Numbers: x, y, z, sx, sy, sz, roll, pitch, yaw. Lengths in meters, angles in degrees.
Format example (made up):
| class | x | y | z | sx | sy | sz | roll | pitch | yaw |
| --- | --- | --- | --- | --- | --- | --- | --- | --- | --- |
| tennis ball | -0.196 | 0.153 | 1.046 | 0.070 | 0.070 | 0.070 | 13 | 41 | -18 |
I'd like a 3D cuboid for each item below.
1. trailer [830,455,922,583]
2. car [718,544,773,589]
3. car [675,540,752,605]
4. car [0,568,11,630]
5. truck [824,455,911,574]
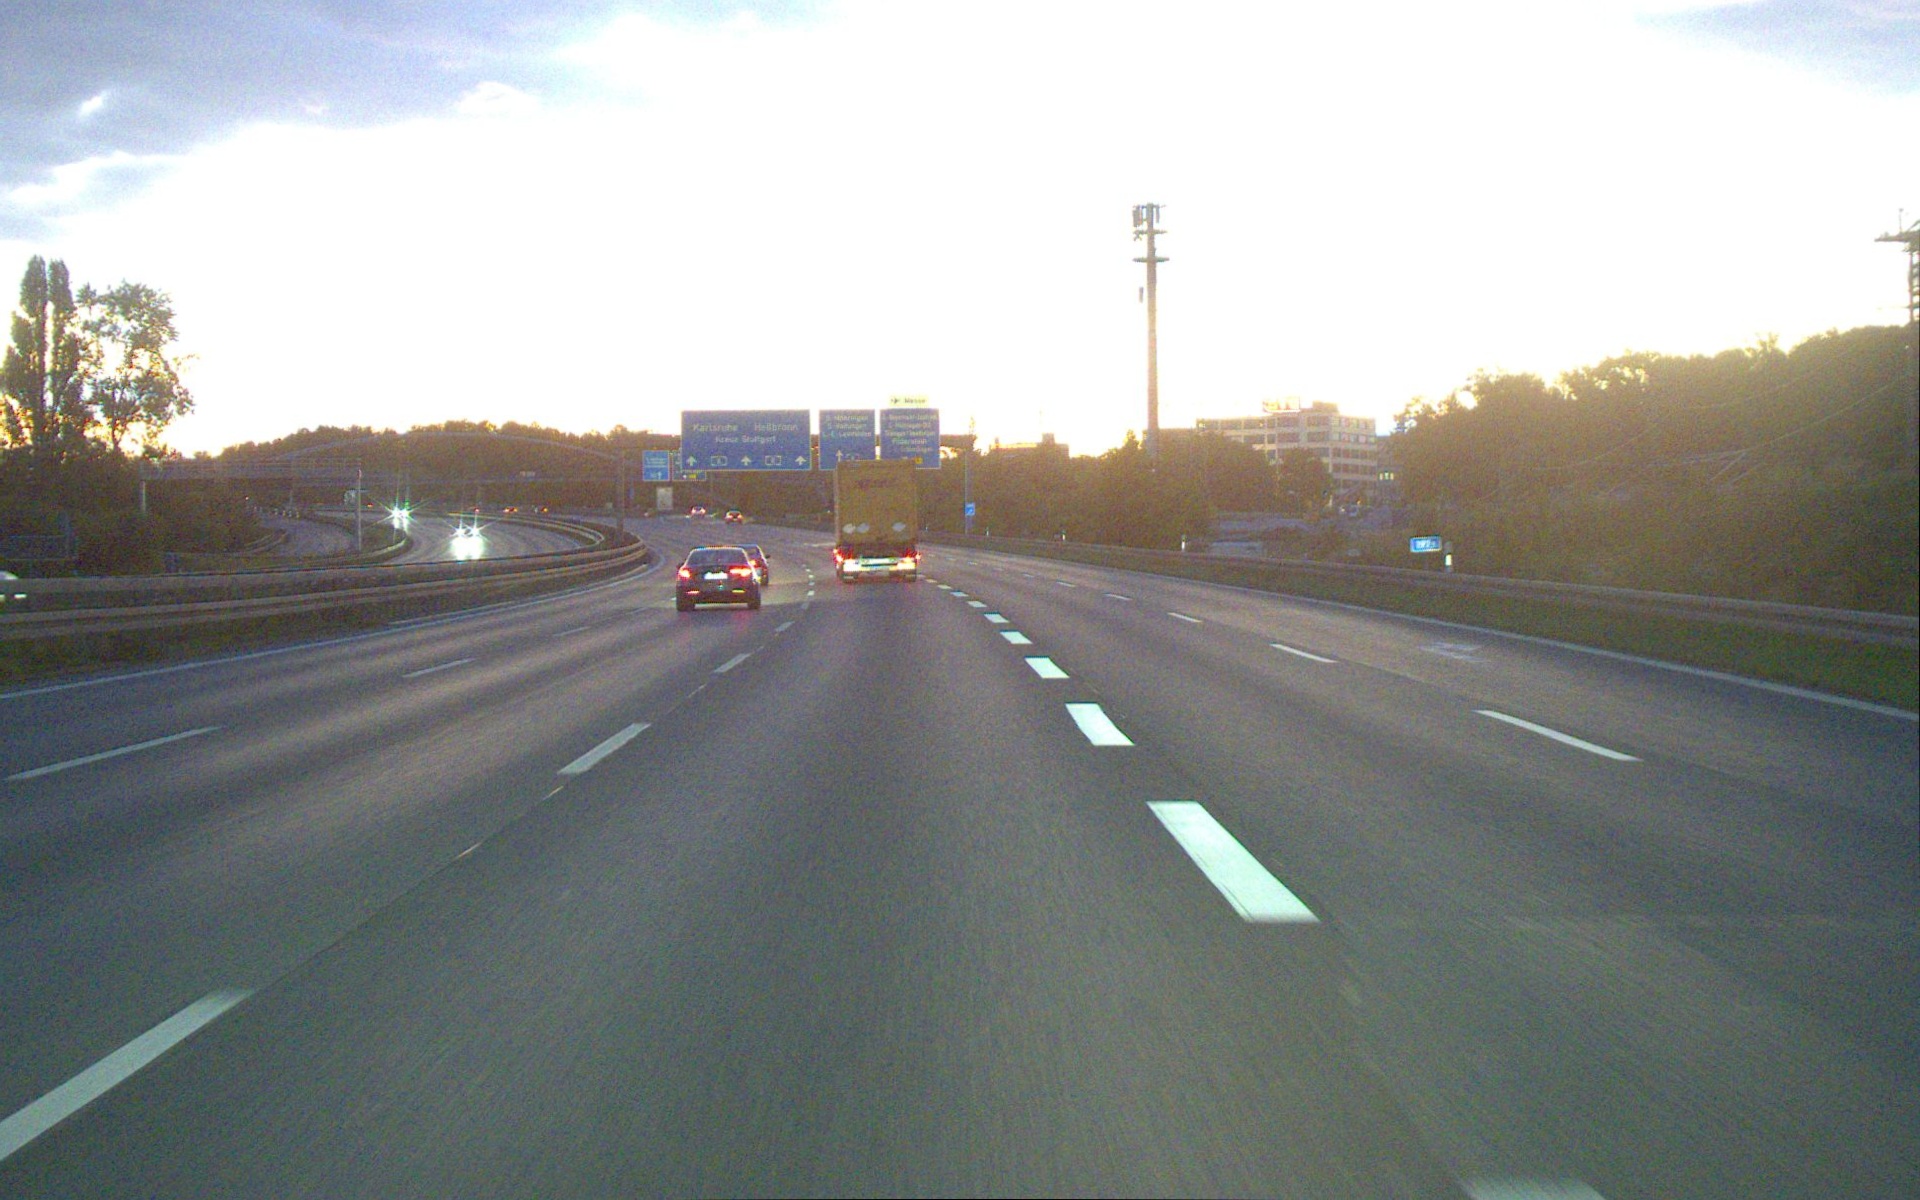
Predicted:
| class | x | y | z | sx | sy | sz | roll | pitch | yaw |
| --- | --- | --- | --- | --- | --- | --- | --- | --- | --- |
| trailer | -2.880 | -2.782 | 115.591 | 2.721 | 4.057 | 8.833 | -2 | 2 | -3 |
| car | -7.171 | -1.115 | 115.113 | 1.689 | 1.396 | 3.409 | -3 | 0 | -2 |
| car | -5.668 | -0.638 | 78.934 | 1.689 | 1.396 | 3.409 | -2 | 1 | -4 |
| car | -22.428 | -0.047 | 76.045 | 1.689 | 1.396 | 4.429 | 1 | 0 | -1 |
| truck | -3.441 | -3.169 | 125.242 | 2.690 | 4.057 | 10.522 | -2 | 2 | -3 |
